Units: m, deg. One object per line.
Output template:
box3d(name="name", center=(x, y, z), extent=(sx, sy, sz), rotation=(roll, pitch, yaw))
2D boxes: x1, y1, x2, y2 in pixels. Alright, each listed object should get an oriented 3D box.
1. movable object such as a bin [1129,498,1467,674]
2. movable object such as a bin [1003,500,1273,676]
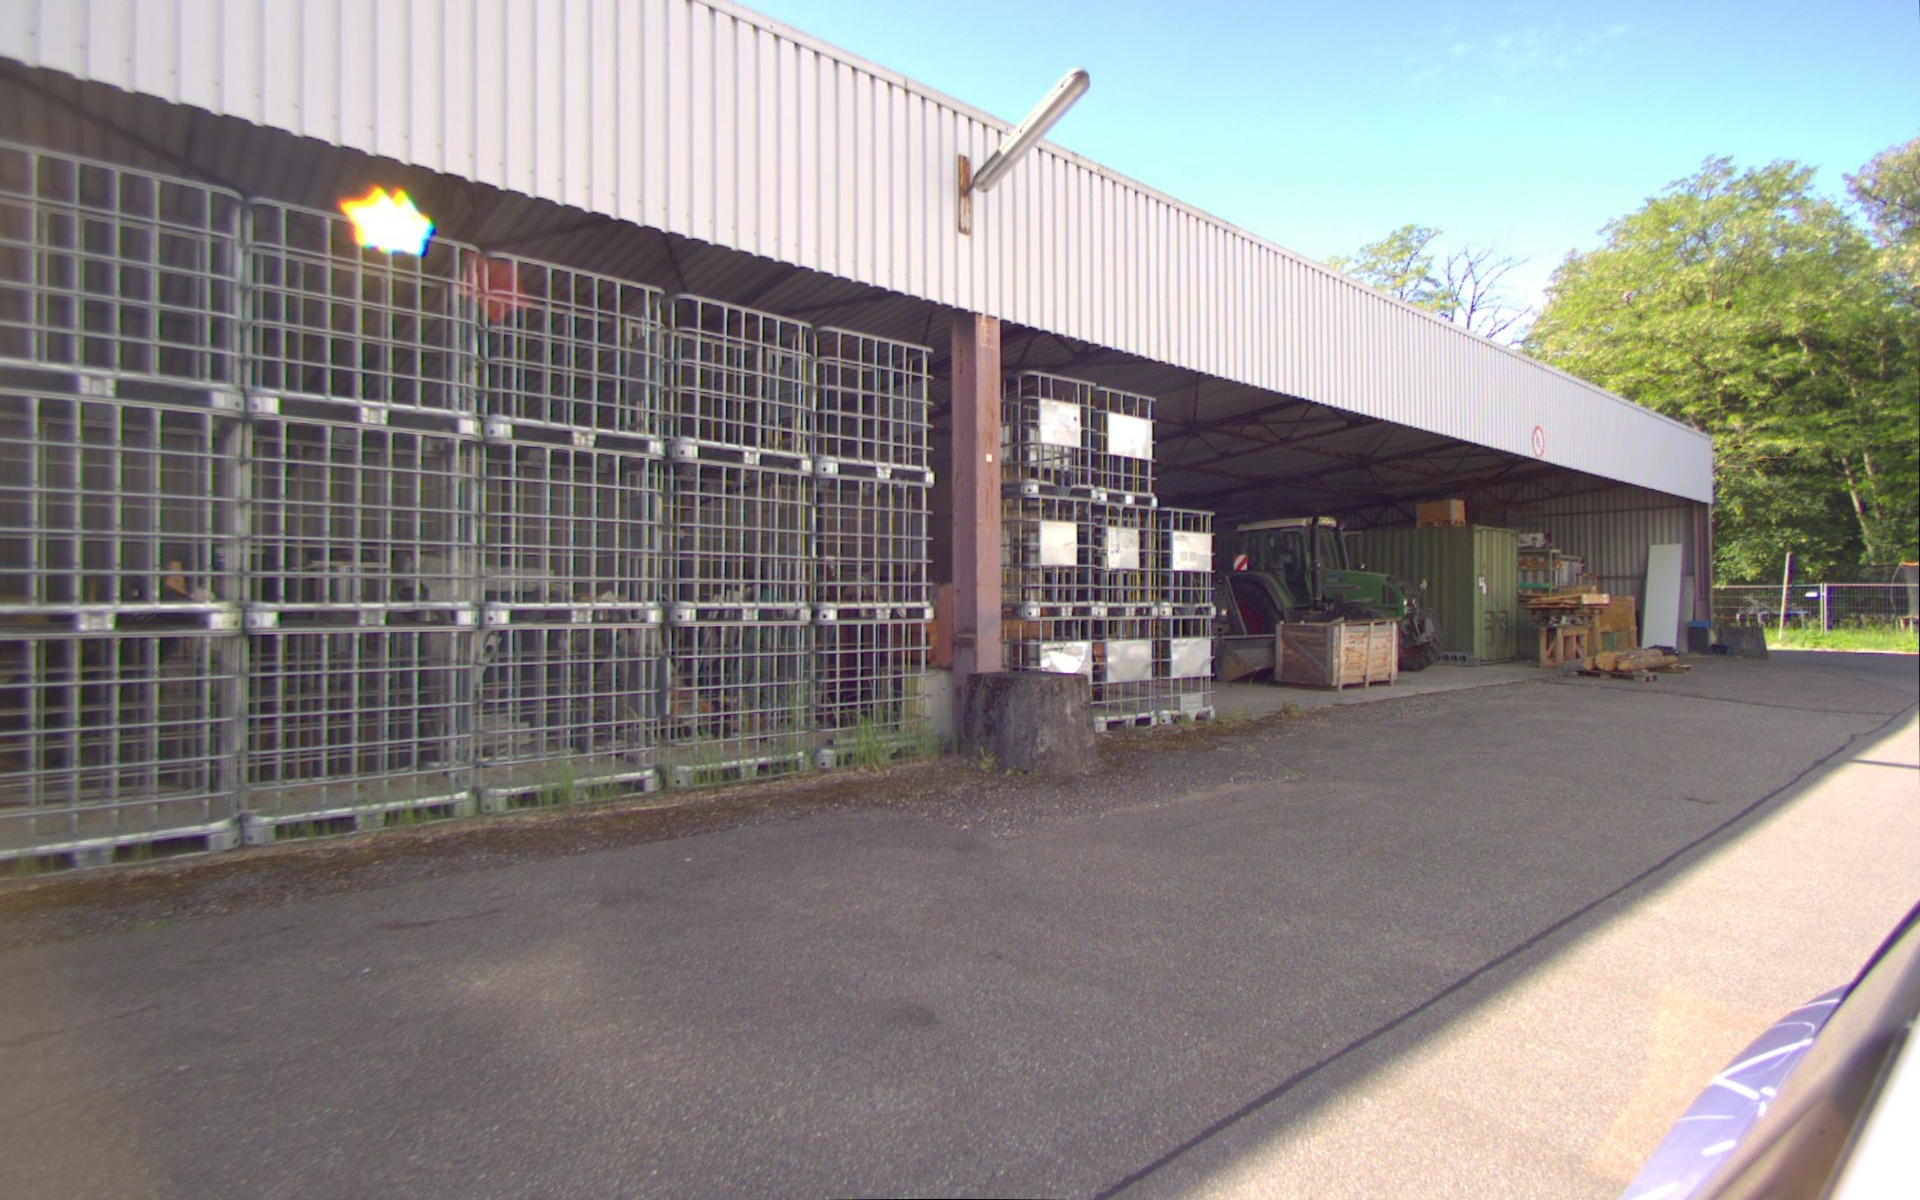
box3d(name="movable object such as a bin", center=(6.507, -0.245, 20.171), extent=(2.770, 2.962, 5.845), rotation=(0, 0, -40))
box3d(name="movable object such as a bin", center=(3.227, -0.193, 19.063), extent=(2.453, 2.867, 4.535), rotation=(1, 0, -40))
